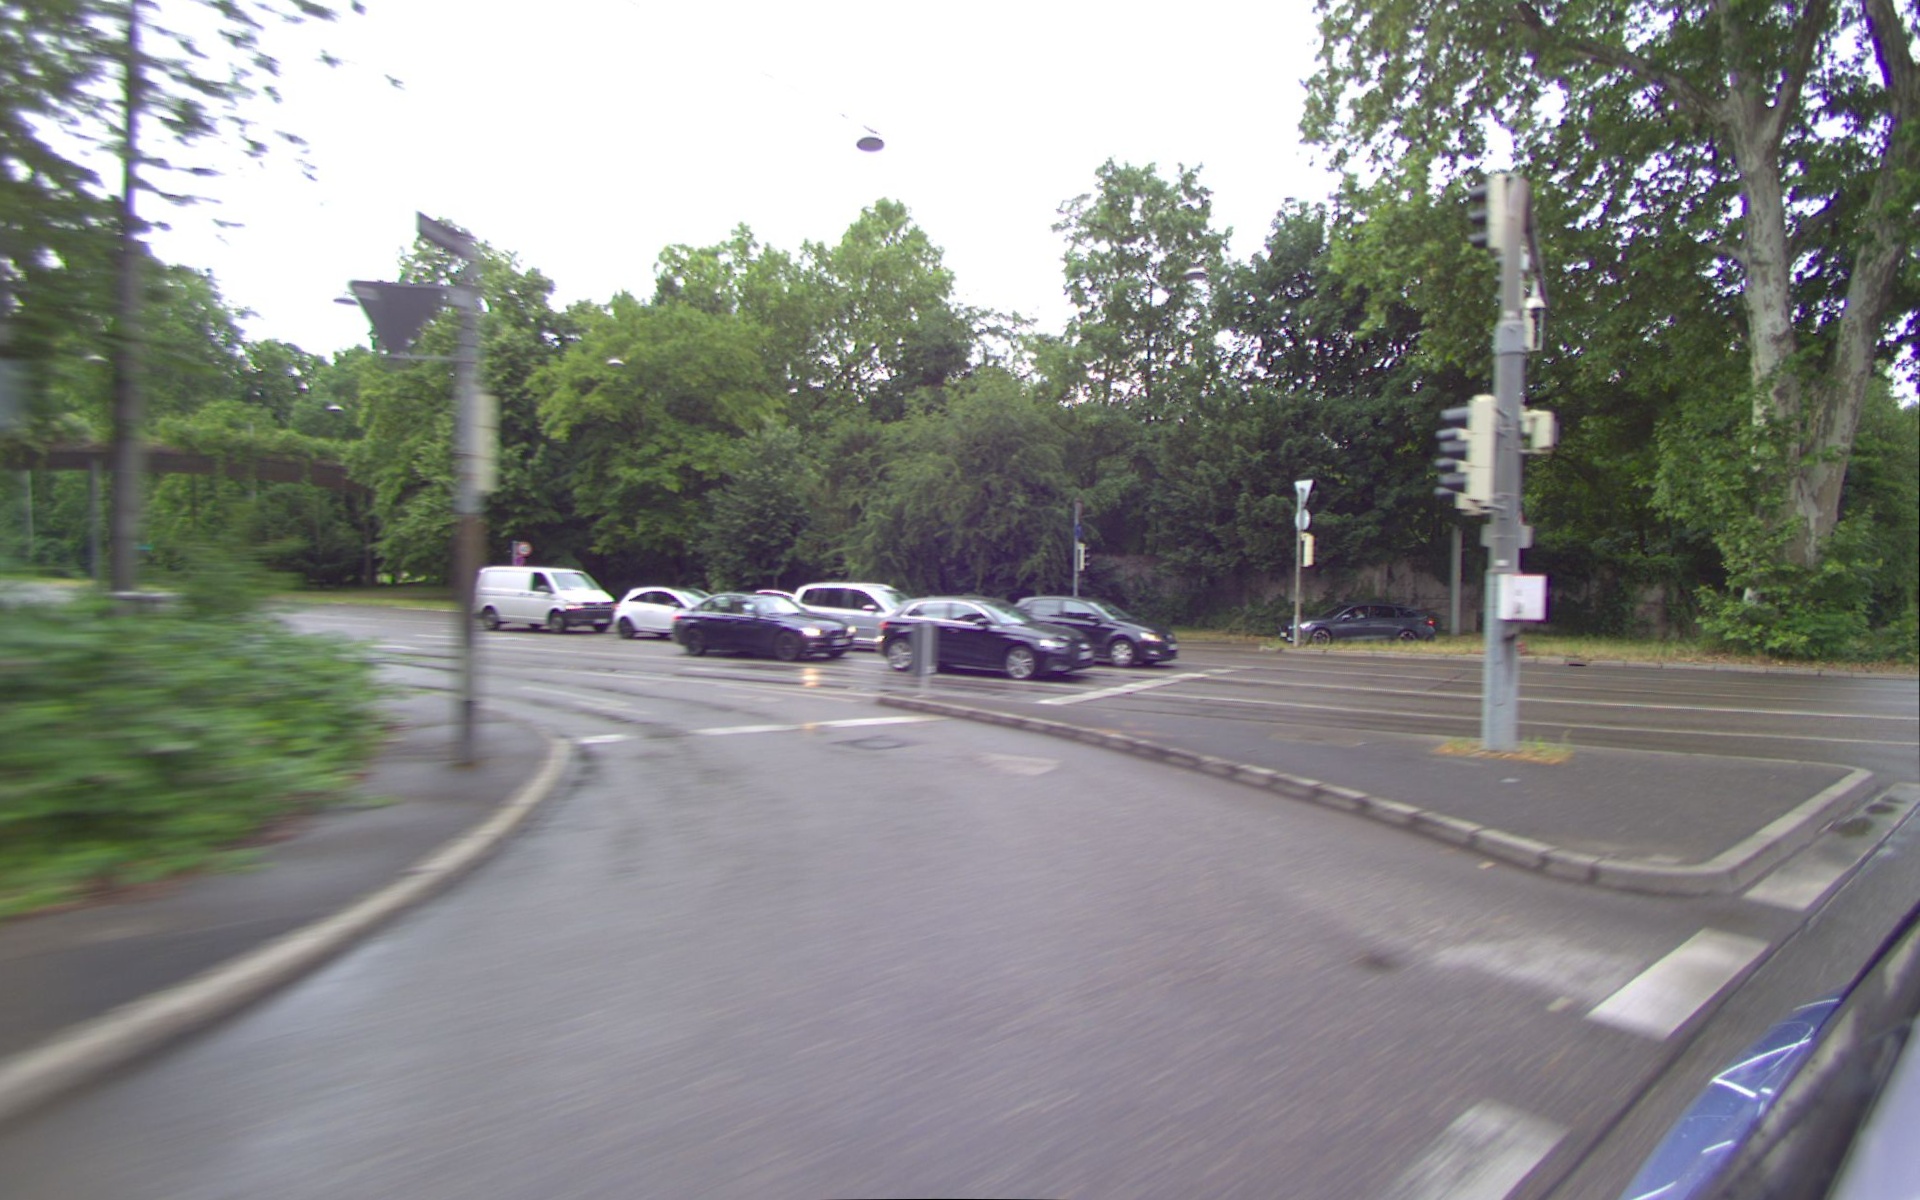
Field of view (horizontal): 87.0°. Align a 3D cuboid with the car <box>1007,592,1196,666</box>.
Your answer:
[{"bbox_3d":[3.027,0.565,21.888,3.666,1.396,1.759,1,1,32],"label":"car"}]

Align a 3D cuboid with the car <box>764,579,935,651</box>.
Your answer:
[{"bbox_3d":[-2.777,0.325,25.248,4.022,1.623,1.759,1,1,31],"label":"car"}]

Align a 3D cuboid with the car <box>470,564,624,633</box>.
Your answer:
[{"bbox_3d":[-12.763,-0.089,31.235,4.563,1.953,1.938,1,1,28],"label":"car"}]

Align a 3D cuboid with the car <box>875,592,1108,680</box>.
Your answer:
[{"bbox_3d":[0.563,0.600,18.971,4.017,1.420,1.762,1,1,28],"label":"car"}]

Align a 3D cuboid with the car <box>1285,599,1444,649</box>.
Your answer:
[{"bbox_3d":[12.384,0.710,31.155,4.143,1.420,1.780,1,1,-2],"label":"car"}]

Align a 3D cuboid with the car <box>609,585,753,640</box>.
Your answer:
[{"bbox_3d":[-7.776,0.305,28.213,3.659,1.396,1.762,1,1,27],"label":"car"}]

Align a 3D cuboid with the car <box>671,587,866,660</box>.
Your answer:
[{"bbox_3d":[-4.257,0.453,22.385,4.092,1.420,1.761,1,1,29],"label":"car"}]
